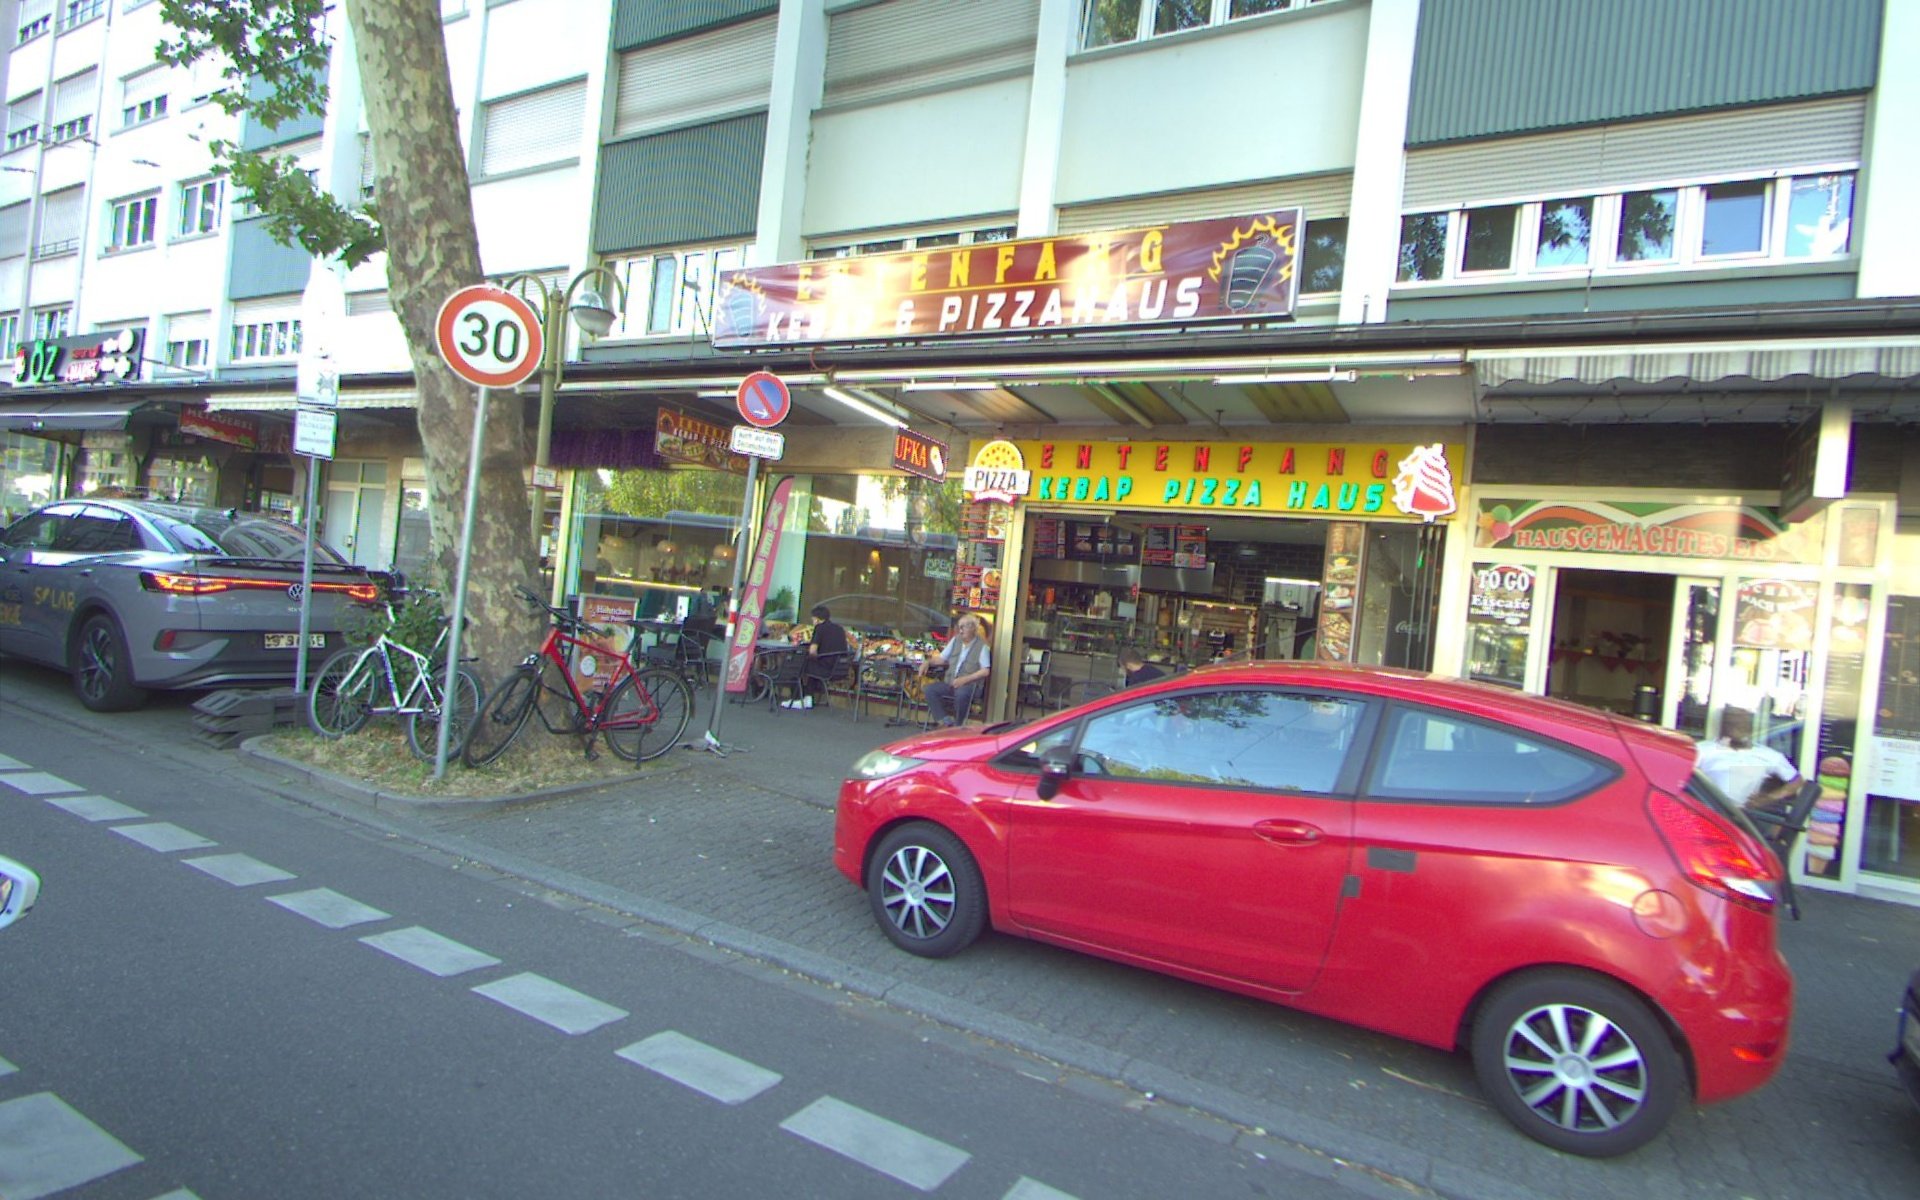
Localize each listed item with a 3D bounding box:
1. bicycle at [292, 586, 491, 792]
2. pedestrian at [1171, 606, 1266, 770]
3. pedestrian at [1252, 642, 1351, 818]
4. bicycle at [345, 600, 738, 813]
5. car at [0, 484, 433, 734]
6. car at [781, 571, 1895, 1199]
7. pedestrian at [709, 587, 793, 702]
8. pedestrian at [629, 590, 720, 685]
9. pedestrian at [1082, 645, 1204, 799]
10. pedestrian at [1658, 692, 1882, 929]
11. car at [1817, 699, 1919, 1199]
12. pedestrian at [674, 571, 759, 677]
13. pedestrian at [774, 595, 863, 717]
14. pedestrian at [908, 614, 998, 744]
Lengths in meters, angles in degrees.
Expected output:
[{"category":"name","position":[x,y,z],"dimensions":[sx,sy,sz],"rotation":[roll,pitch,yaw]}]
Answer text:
[{"category":"bicycle","position":[-3.889,0.565,6.844],"dimensions":[1.422,1.169,0.553],"rotation":[6,0,36]},{"category":"pedestrian","position":[2.659,0.896,10.323],"dimensions":[0.589,1.566,0.700],"rotation":[6,0,34]},{"category":"pedestrian","position":[3.297,1.232,9.700],"dimensions":[0.589,1.560,0.700],"rotation":[6,0,34]},{"category":"bicycle","position":[-2.667,0.614,6.703],"dimensions":[0.547,1.171,2.377],"rotation":[6,4,44]},{"category":"car","position":[-7.004,-0.053,8.878],"dimensions":[4.292,1.603,1.996],"rotation":[7,2,27]},{"category":"car","position":[1.296,0.862,4.516],"dimensions":[3.757,1.617,1.782],"rotation":[6,3,28]},{"category":"pedestrian","position":[-2.468,0.516,11.871],"dimensions":[0.680,1.261,0.557],"rotation":[7,2,38]},{"category":"pedestrian","position":[-3.628,0.470,12.844],"dimensions":[0.940,1.094,0.639],"rotation":[6,0,-9]},{"category":"pedestrian","position":[1.645,1.061,9.013],"dimensions":[0.798,1.225,0.654],"rotation":[7,2,28]},{"category":"pedestrian","position":[5.539,1.376,6.979],"dimensions":[0.937,1.352,1.069],"rotation":[6,0,30]},{"category":"car","position":[4.700,1.291,2.449],"dimensions":[3.549,1.488,1.767],"rotation":[6,3,29]},{"category":"pedestrian","position":[-3.403,0.328,14.148],"dimensions":[0.958,1.350,0.830],"rotation":[6,0,-9]},{"category":"pedestrian","position":[-1.589,0.622,11.303],"dimensions":[0.679,1.261,0.558],"rotation":[7,2,33]},{"category":"pedestrian","position":[-0.063,0.804,10.439],"dimensions":[0.550,1.252,0.689],"rotation":[7,2,29]}]
